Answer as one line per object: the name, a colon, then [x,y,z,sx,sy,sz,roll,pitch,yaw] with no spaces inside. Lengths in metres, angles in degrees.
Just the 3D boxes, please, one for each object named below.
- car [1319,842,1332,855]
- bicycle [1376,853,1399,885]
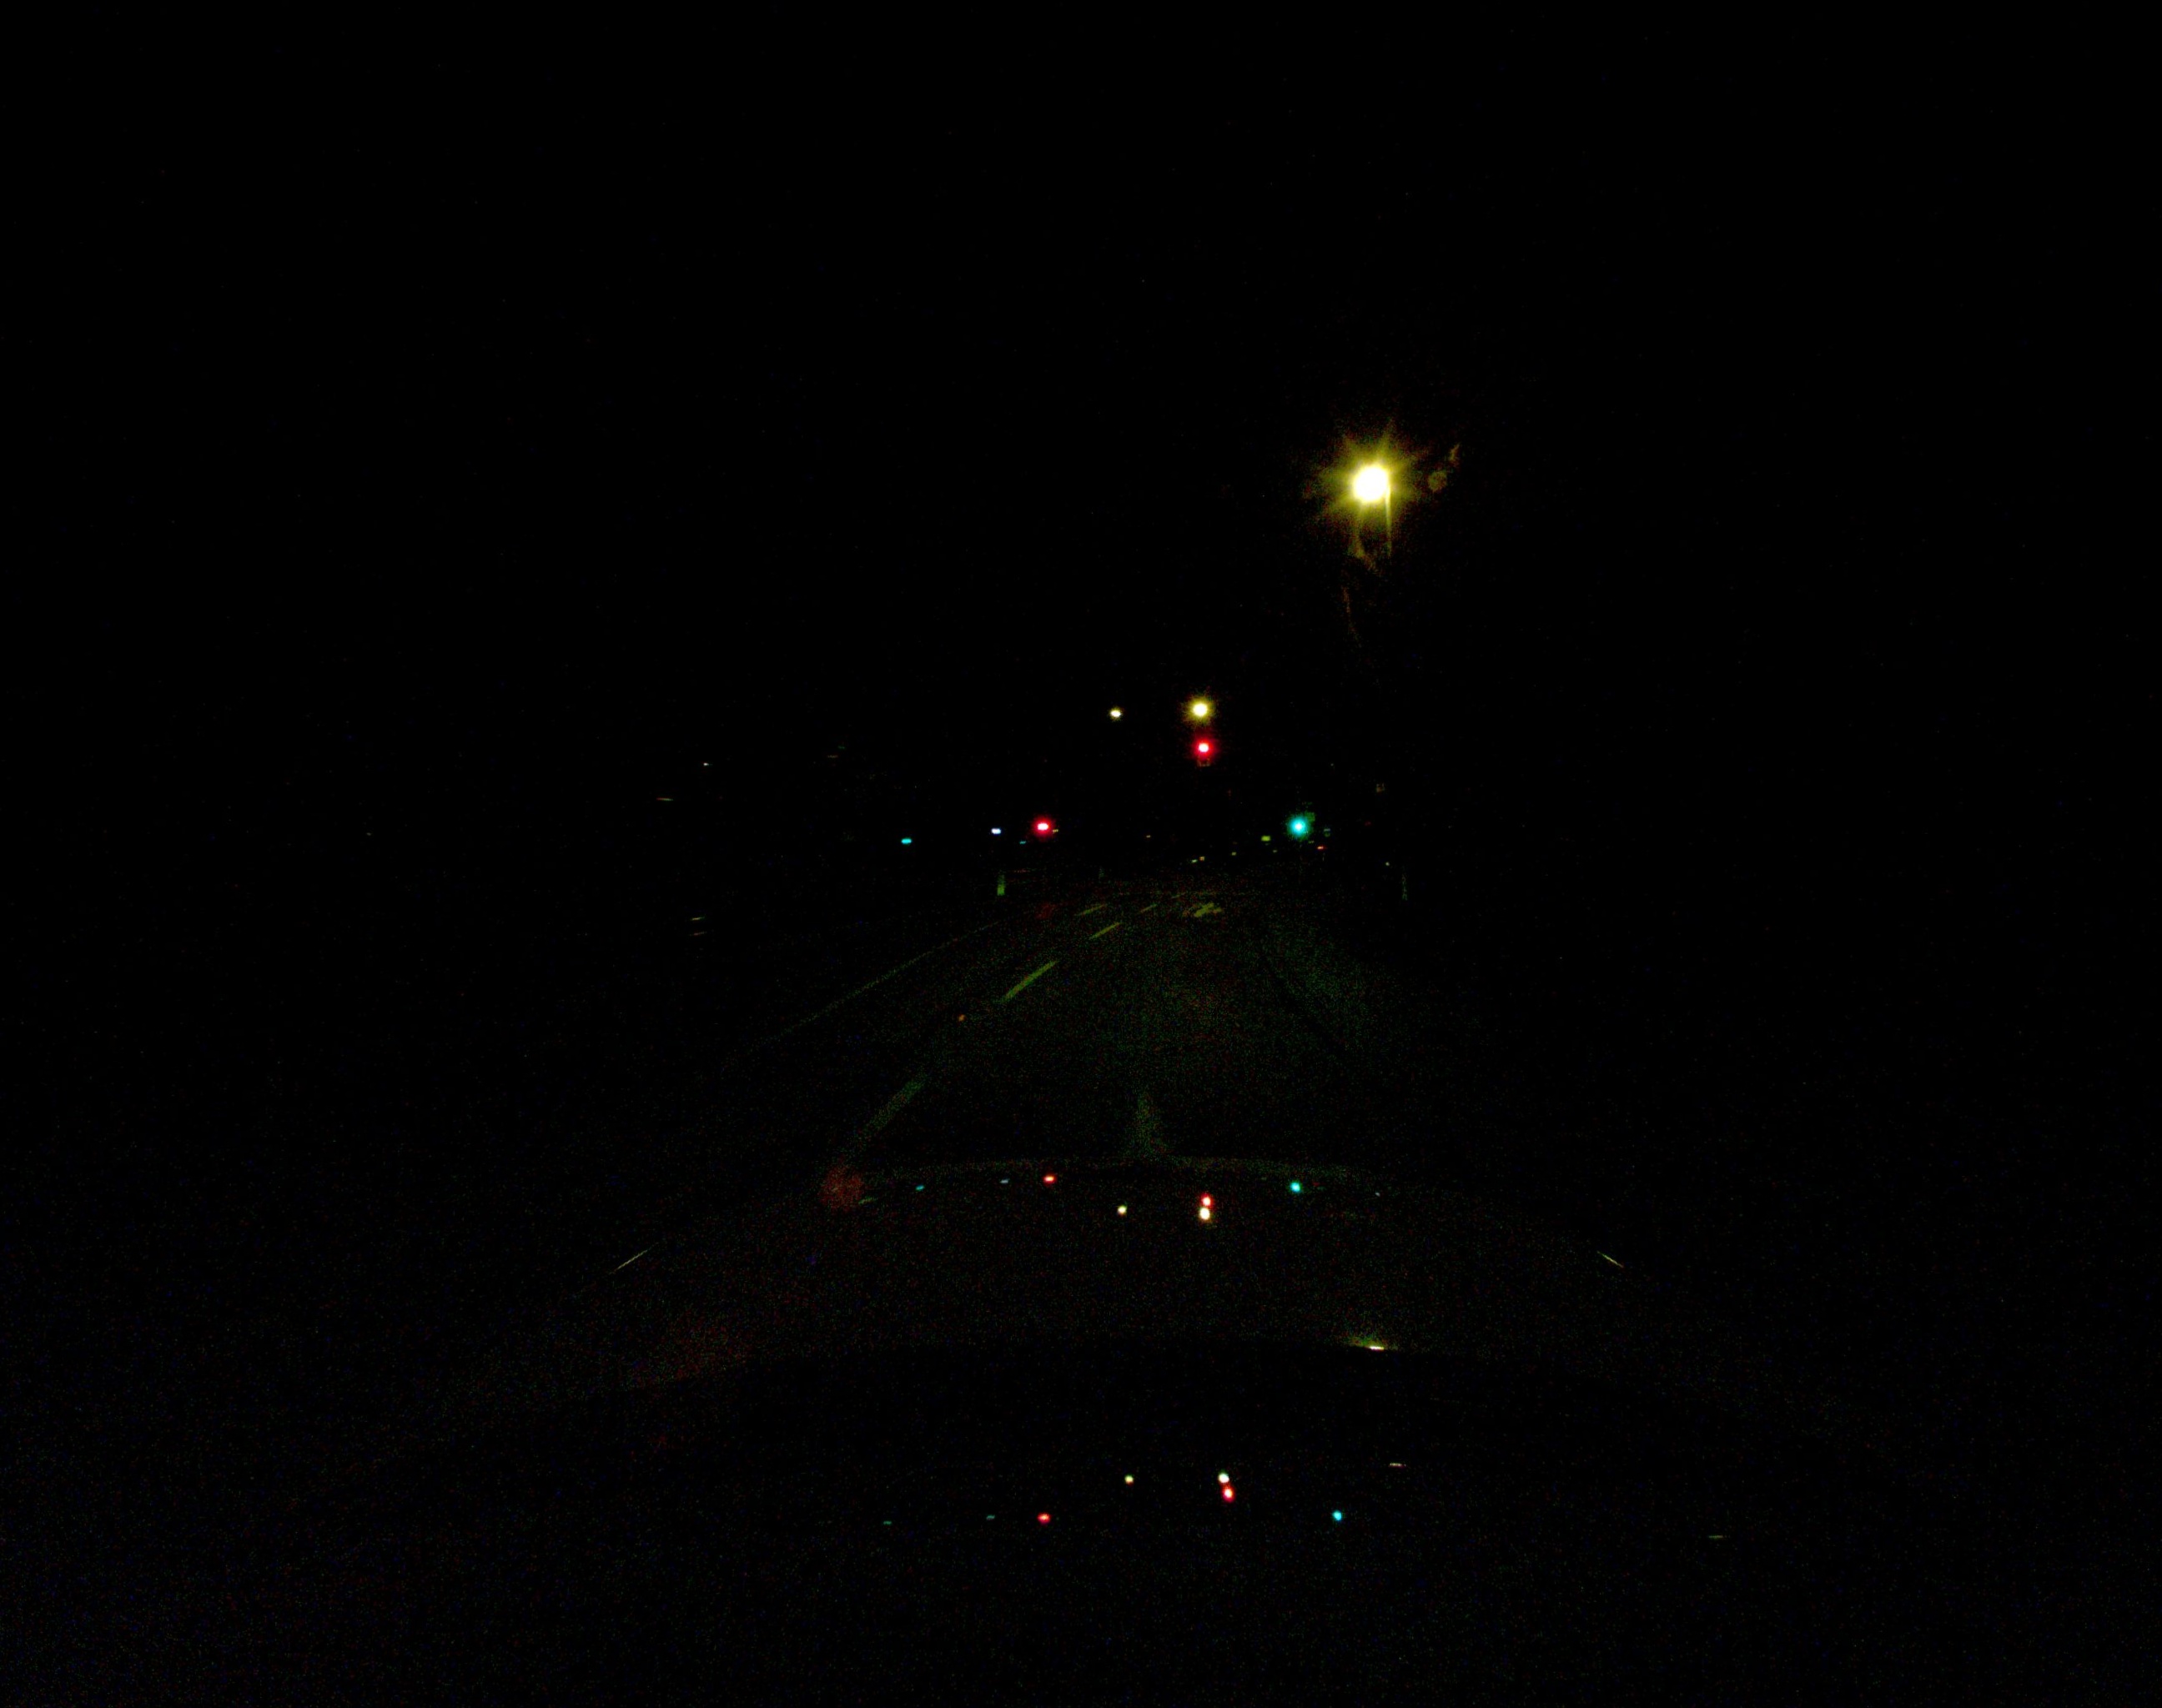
car: [43.440,-0.943,144.722,1.978,2.014,4.018,-1,-2,18]
bicycle: [10.055,0.508,26.731,0.293,0.982,1.949,-2,-3,9]
